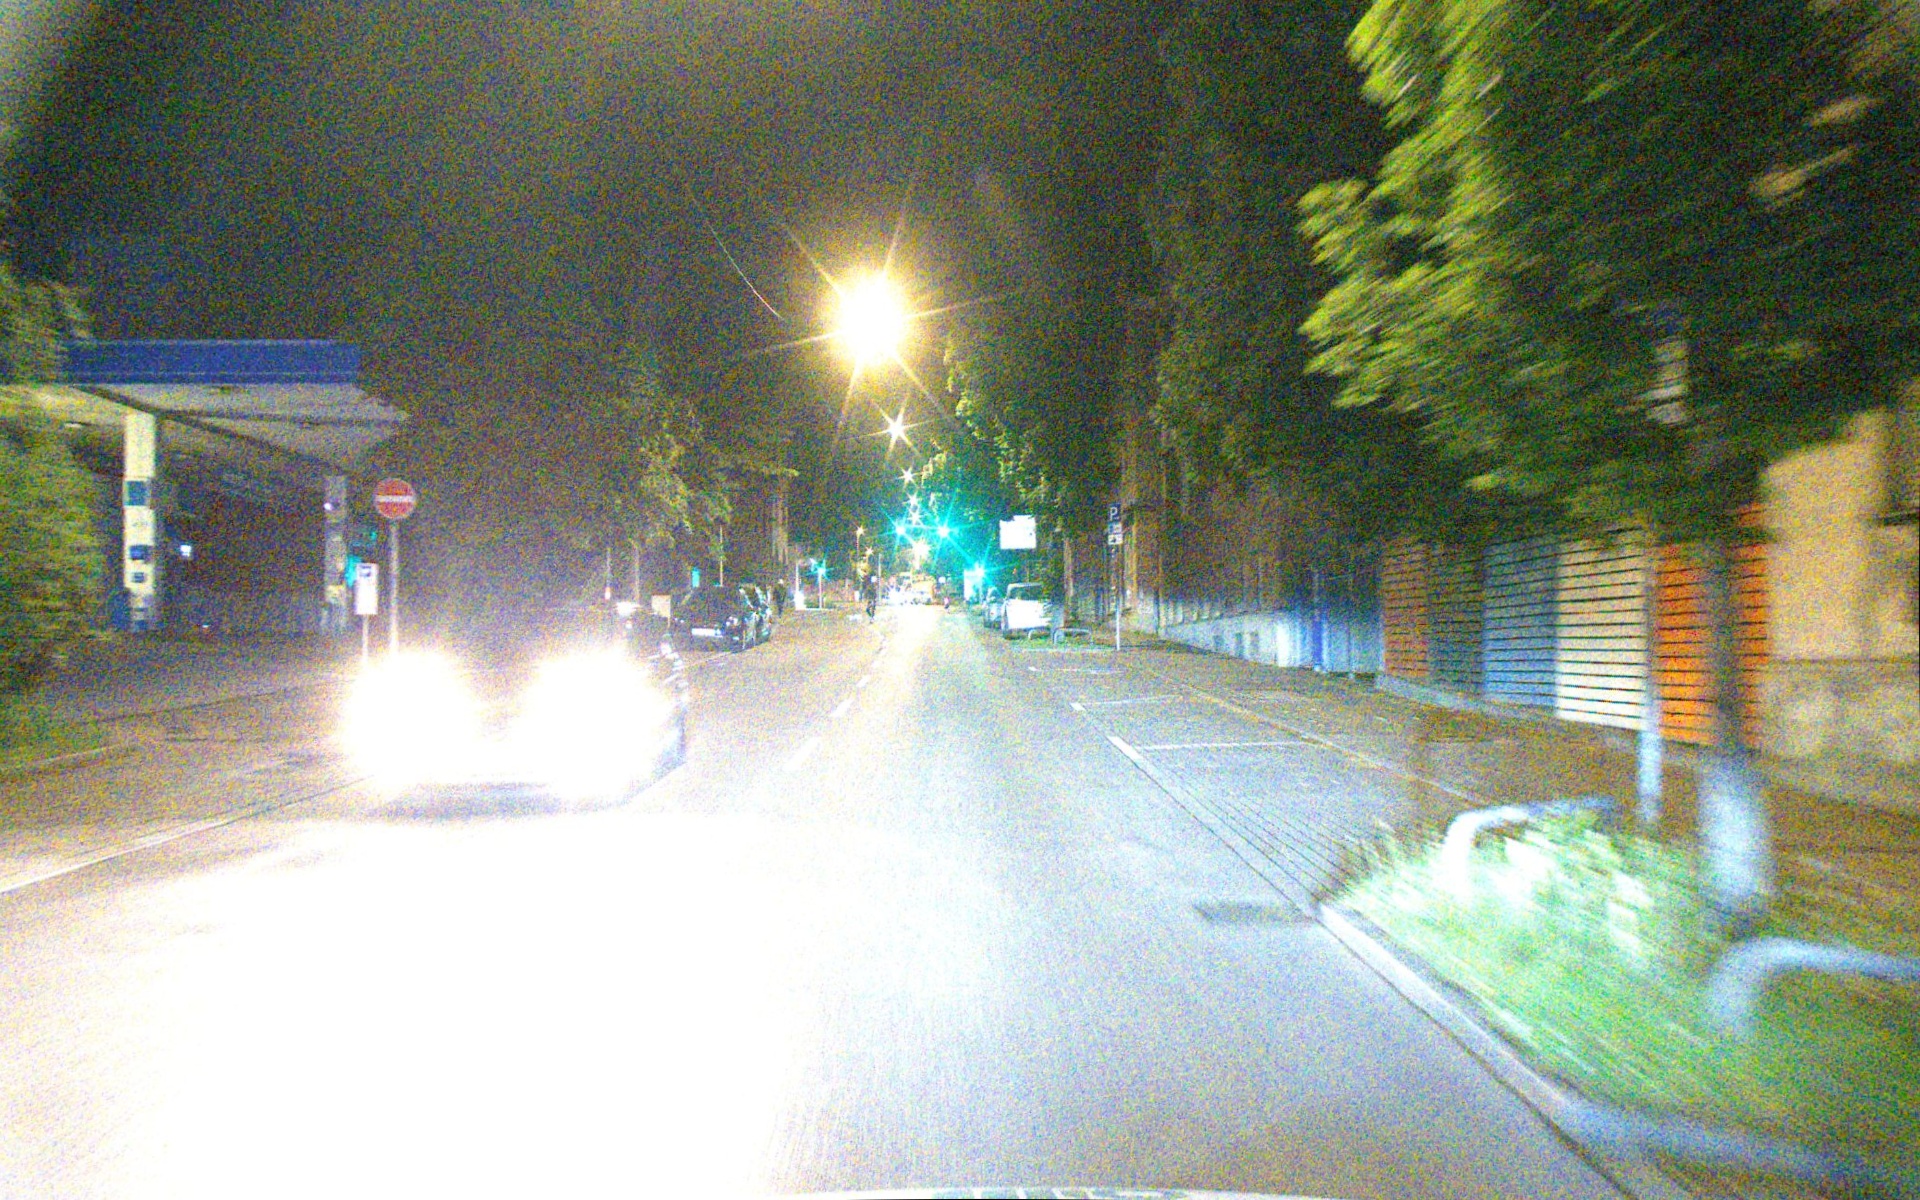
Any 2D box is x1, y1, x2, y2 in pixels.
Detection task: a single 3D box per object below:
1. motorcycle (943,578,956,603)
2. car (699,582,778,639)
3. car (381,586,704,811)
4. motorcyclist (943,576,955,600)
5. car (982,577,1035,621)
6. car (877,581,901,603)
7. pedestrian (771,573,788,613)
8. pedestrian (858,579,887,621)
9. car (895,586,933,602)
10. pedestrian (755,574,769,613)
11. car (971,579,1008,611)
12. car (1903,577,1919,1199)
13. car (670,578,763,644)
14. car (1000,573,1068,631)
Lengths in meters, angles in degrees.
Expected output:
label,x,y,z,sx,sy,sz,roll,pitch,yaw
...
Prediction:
label,x,y,z,sx,sy,sz,roll,pitch,yaw
motorcycle,-0.809,-0.719,123.960,0.912,1.783,2.624,1,-1,-1
car,-5.956,0.262,44.828,1.686,1.463,4.808,0,0,-3
car,-3.052,0.629,12.846,1.612,1.447,3.869,-1,1,-2
motorcyclist,-0.809,-0.887,123.943,0.831,1.783,0.805,1,-1,-1
car,1.816,-0.053,63.119,1.831,1.553,4.149,-1,1,-1
car,-6.037,-0.647,140.979,1.905,1.747,3.999,1,-1,-1
pedestrian,-8.301,-0.322,76.065,0.705,1.796,0.602,1,-1,-9
pedestrian,-3.715,-0.008,70.071,0.752,1.729,0.923,3,0,36
car,-4.630,-0.616,165.728,1.688,1.483,3.903,0,-1,39
pedestrian,-9.118,-0.292,75.966,0.559,1.729,0.927,1,-1,-10
car,1.454,-0.232,82.456,1.596,1.522,3.413,1,0,-3
car,2.771,0.702,1.259,1.727,1.502,4.080,-2,1,-1
car,-5.745,0.239,39.428,1.686,1.462,4.189,1,0,-2
car,2.188,0.023,49.778,1.775,1.622,4.273,-1,1,-1
